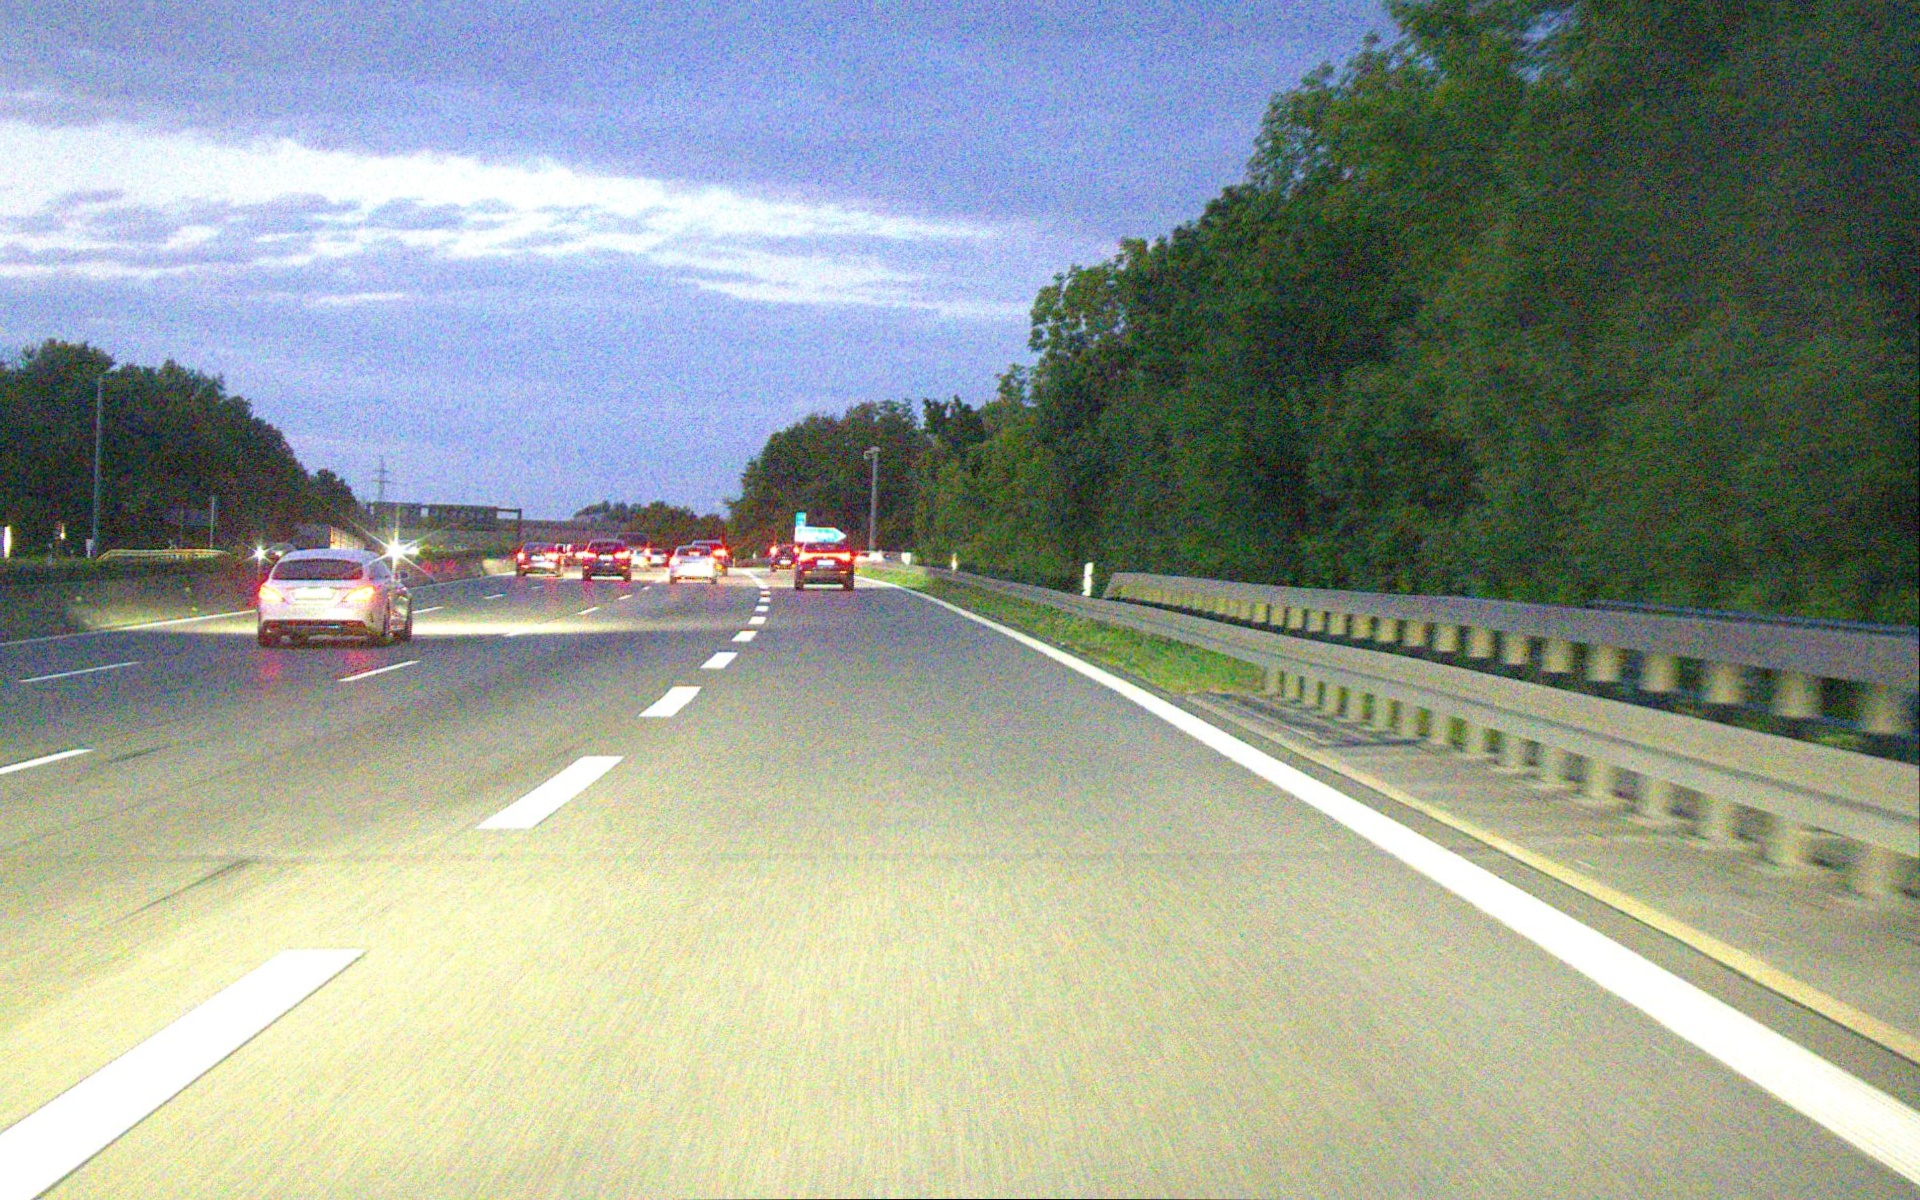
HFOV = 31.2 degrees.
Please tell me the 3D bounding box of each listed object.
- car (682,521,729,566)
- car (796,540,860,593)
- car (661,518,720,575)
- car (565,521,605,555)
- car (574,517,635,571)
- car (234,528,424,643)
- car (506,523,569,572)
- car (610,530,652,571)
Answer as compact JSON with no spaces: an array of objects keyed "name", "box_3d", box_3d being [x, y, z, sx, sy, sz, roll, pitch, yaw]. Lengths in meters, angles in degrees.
[{"name":"car","box_3d":[-11.375,-2.539,153.719,1.993,2.007,4.001,0,1,-3]},{"name":"car","box_3d":[-4.277,-1.094,110.791,1.993,1.653,4.315,0,1,-3]},{"name":"car","box_3d":[-9.738,-1.943,124.524,1.993,2.007,4.001,1,1,-3]},{"name":"car","box_3d":[-24.105,-4.001,221.078,1.993,2.006,4.000,5,1,-1]},{"name":"car","box_3d":[-13.604,-2.143,131.621,2.071,2.007,4.001,0,1,-2]},{"name":"car","box_3d":[-9.366,-0.250,51.391,1.993,1.637,4.555,0,1,0]},{"name":"car","box_3d":[-17.552,-2.188,142.994,2.104,2.007,4.000,0,1,1]},{"name":"car","box_3d":[-16.566,-2.485,172.966,1.993,2.007,4.001,1,1,-6]}]
